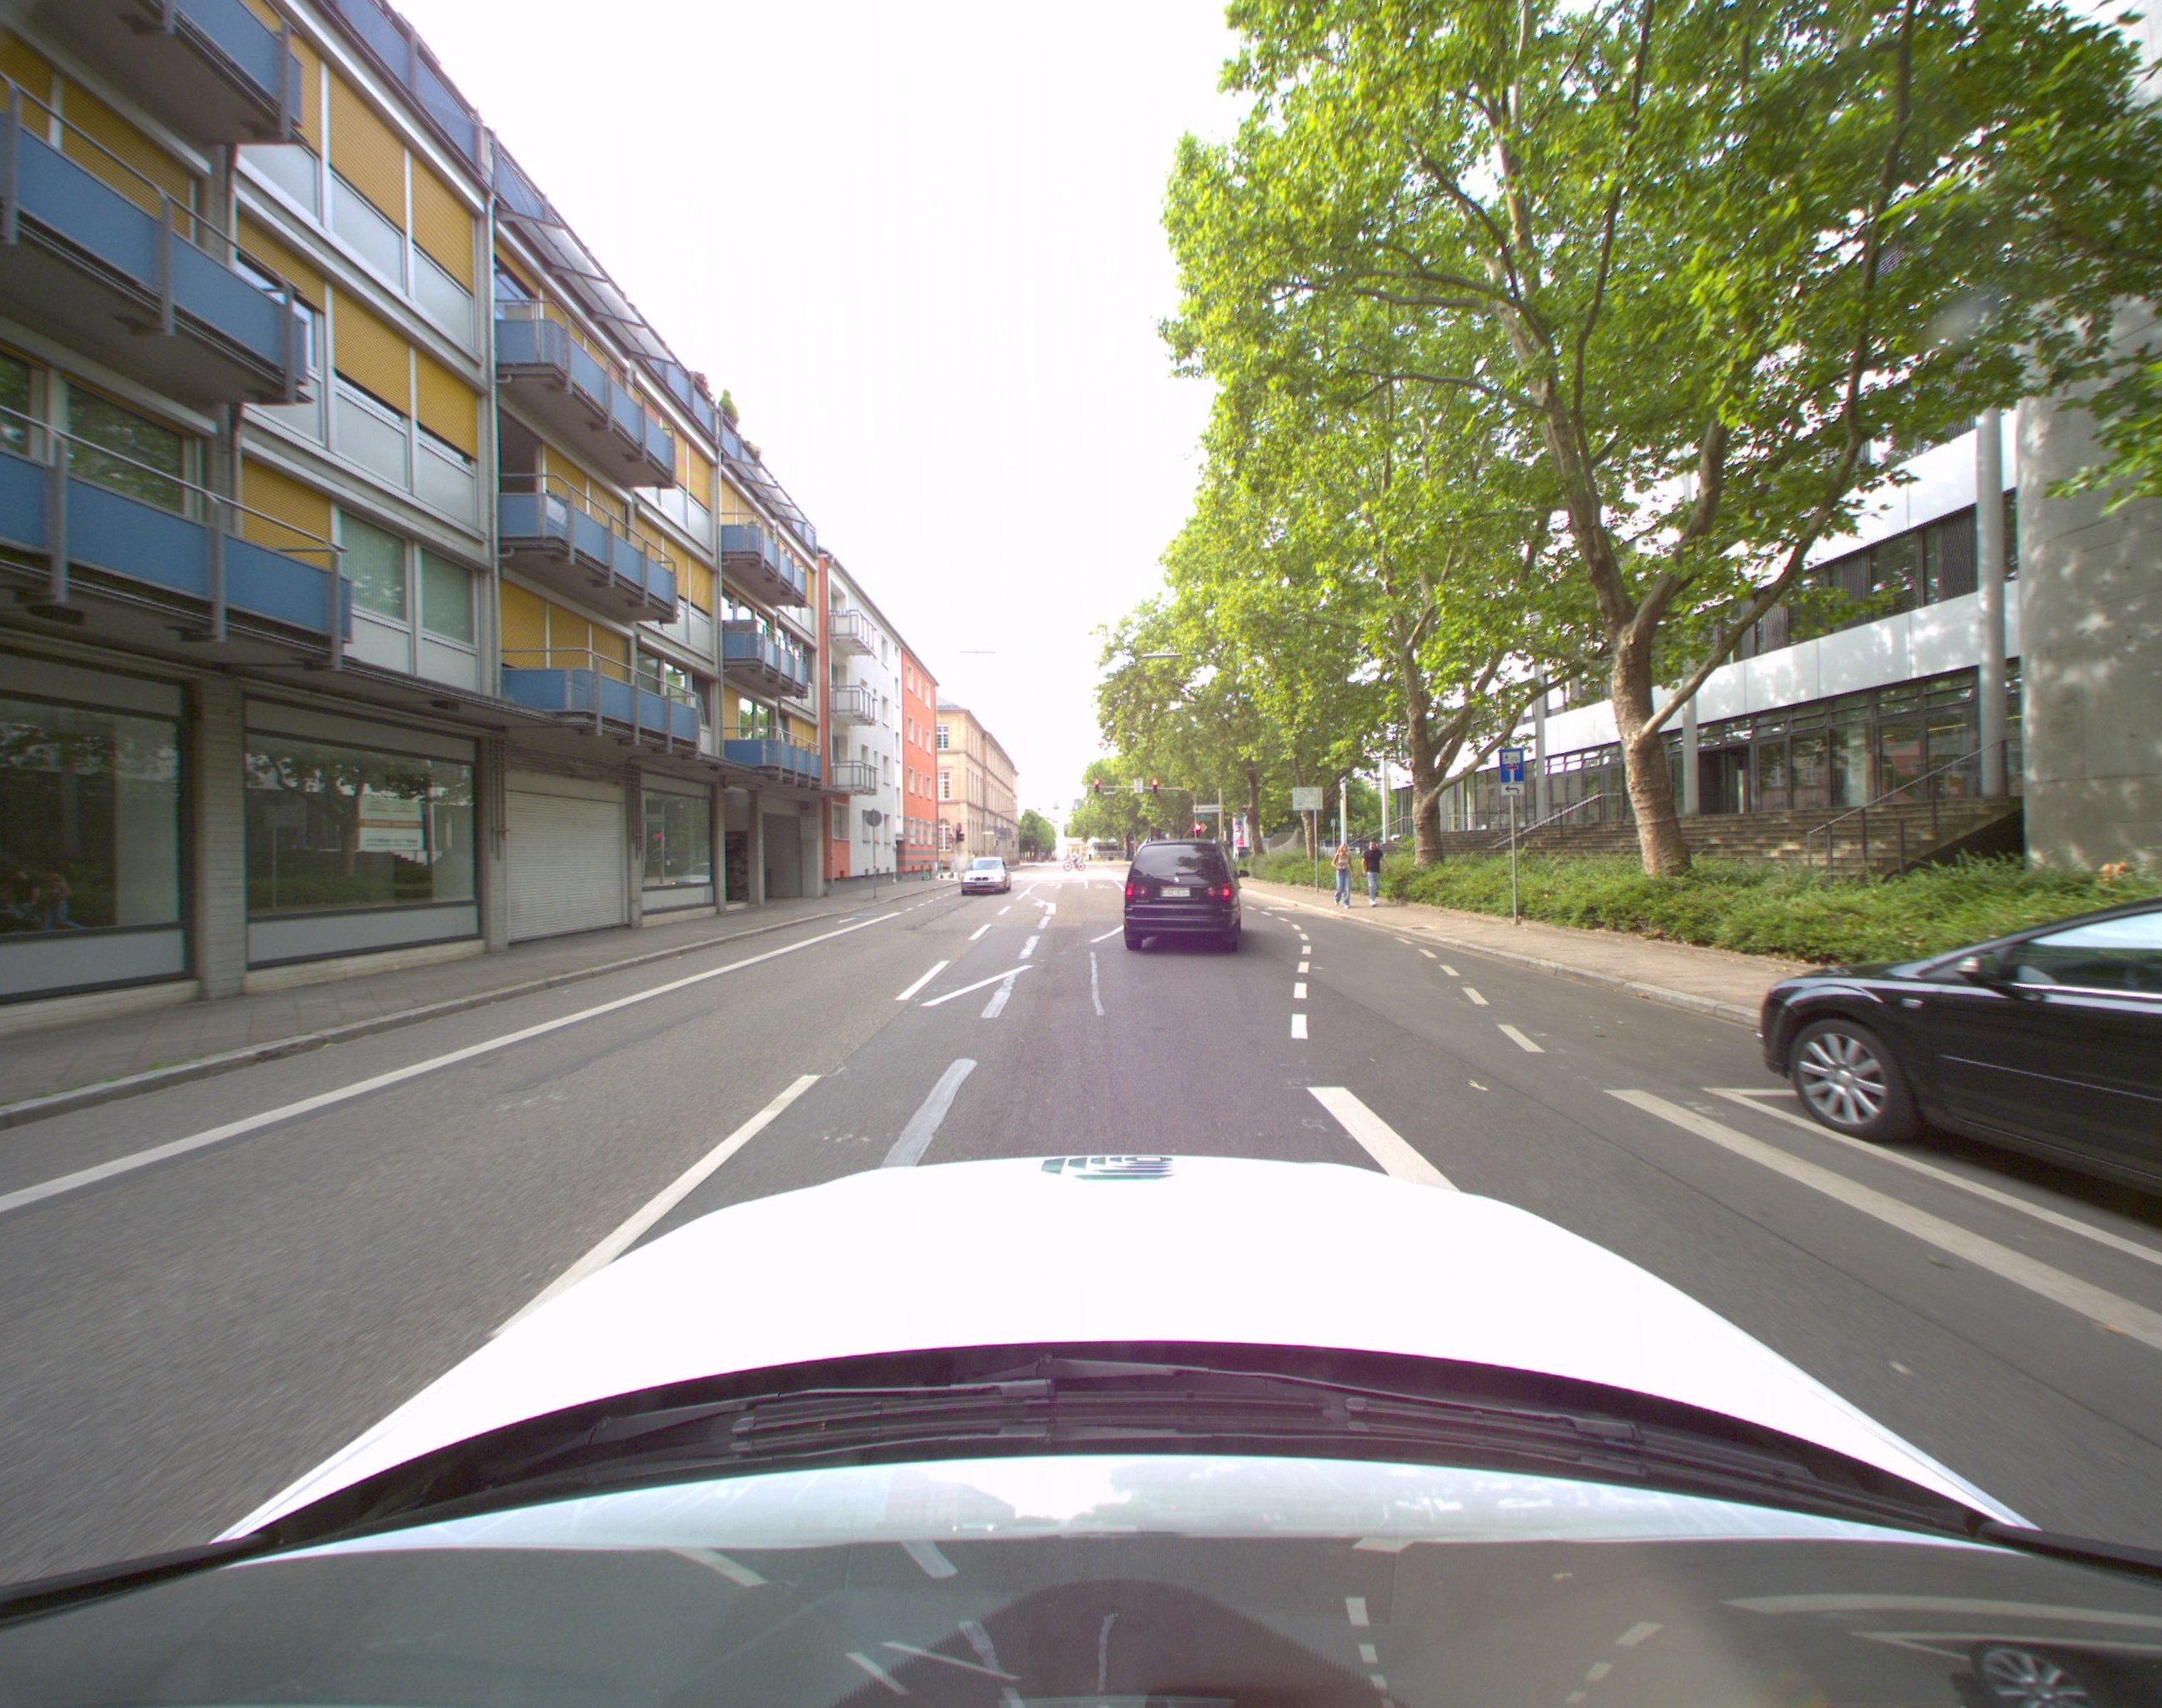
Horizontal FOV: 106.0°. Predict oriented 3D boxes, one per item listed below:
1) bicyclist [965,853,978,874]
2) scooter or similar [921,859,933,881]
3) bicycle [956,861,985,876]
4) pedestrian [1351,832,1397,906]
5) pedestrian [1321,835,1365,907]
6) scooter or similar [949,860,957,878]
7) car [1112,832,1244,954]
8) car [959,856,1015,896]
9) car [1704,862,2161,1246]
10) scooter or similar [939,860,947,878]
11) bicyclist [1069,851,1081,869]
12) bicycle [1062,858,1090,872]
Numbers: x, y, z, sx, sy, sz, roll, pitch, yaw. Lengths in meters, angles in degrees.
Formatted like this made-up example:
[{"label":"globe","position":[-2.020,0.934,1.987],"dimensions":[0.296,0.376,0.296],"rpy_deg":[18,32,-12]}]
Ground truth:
[{"label":"bicyclist","position":[-7.945,0.700,59.118],"dimensions":[0.912,1.514,0.625],"rpy_deg":[-1,0,-3]},{"label":"scooter or similar","position":[-8.738,0.914,46.136],"dimensions":[0.377,1.184,1.389],"rpy_deg":[-1,-2,0]},{"label":"bicycle","position":[-8.008,1.041,59.109],"dimensions":[2.013,1.094,0.627],"rpy_deg":[-1,0,-3]},{"label":"pedestrian","position":[7.513,0.379,20.937],"dimensions":[0.713,1.800,1.033],"rpy_deg":[-3,-1,-1]},{"label":"pedestrian","position":[6.745,0.433,21.009],"dimensions":[0.708,1.783,1.033],"rpy_deg":[-3,-1,-1]},{"label":"scooter or similar","position":[-8.315,0.983,52.782],"dimensions":[0.377,1.144,1.140],"rpy_deg":[-1,-2,-3]},{"label":"car","position":[1.845,0.554,14.047],"dimensions":[1.861,1.745,4.588],"rpy_deg":[-1,0,11]},{"label":"car","position":[-3.716,0.838,32.742],"dimensions":[1.752,1.427,4.097],"rpy_deg":[-3,0,-1]},{"label":"car","position":[4.930,0.771,3.069],"dimensions":[1.693,1.425,4.418],"rpy_deg":[0,0,-2]},{"label":"scooter or similar","position":[-8.871,0.974,52.350],"dimensions":[0.377,1.147,1.140],"rpy_deg":[-1,-2,-3]},{"label":"bicyclist","position":[-0.509,0.497,66.425],"dimensions":[0.913,1.493,0.625],"rpy_deg":[-1,0,-4]},{"label":"bicycle","position":[-0.413,0.918,66.429],"dimensions":[2.230,1.094,0.626],"rpy_deg":[-1,0,-5]}]
